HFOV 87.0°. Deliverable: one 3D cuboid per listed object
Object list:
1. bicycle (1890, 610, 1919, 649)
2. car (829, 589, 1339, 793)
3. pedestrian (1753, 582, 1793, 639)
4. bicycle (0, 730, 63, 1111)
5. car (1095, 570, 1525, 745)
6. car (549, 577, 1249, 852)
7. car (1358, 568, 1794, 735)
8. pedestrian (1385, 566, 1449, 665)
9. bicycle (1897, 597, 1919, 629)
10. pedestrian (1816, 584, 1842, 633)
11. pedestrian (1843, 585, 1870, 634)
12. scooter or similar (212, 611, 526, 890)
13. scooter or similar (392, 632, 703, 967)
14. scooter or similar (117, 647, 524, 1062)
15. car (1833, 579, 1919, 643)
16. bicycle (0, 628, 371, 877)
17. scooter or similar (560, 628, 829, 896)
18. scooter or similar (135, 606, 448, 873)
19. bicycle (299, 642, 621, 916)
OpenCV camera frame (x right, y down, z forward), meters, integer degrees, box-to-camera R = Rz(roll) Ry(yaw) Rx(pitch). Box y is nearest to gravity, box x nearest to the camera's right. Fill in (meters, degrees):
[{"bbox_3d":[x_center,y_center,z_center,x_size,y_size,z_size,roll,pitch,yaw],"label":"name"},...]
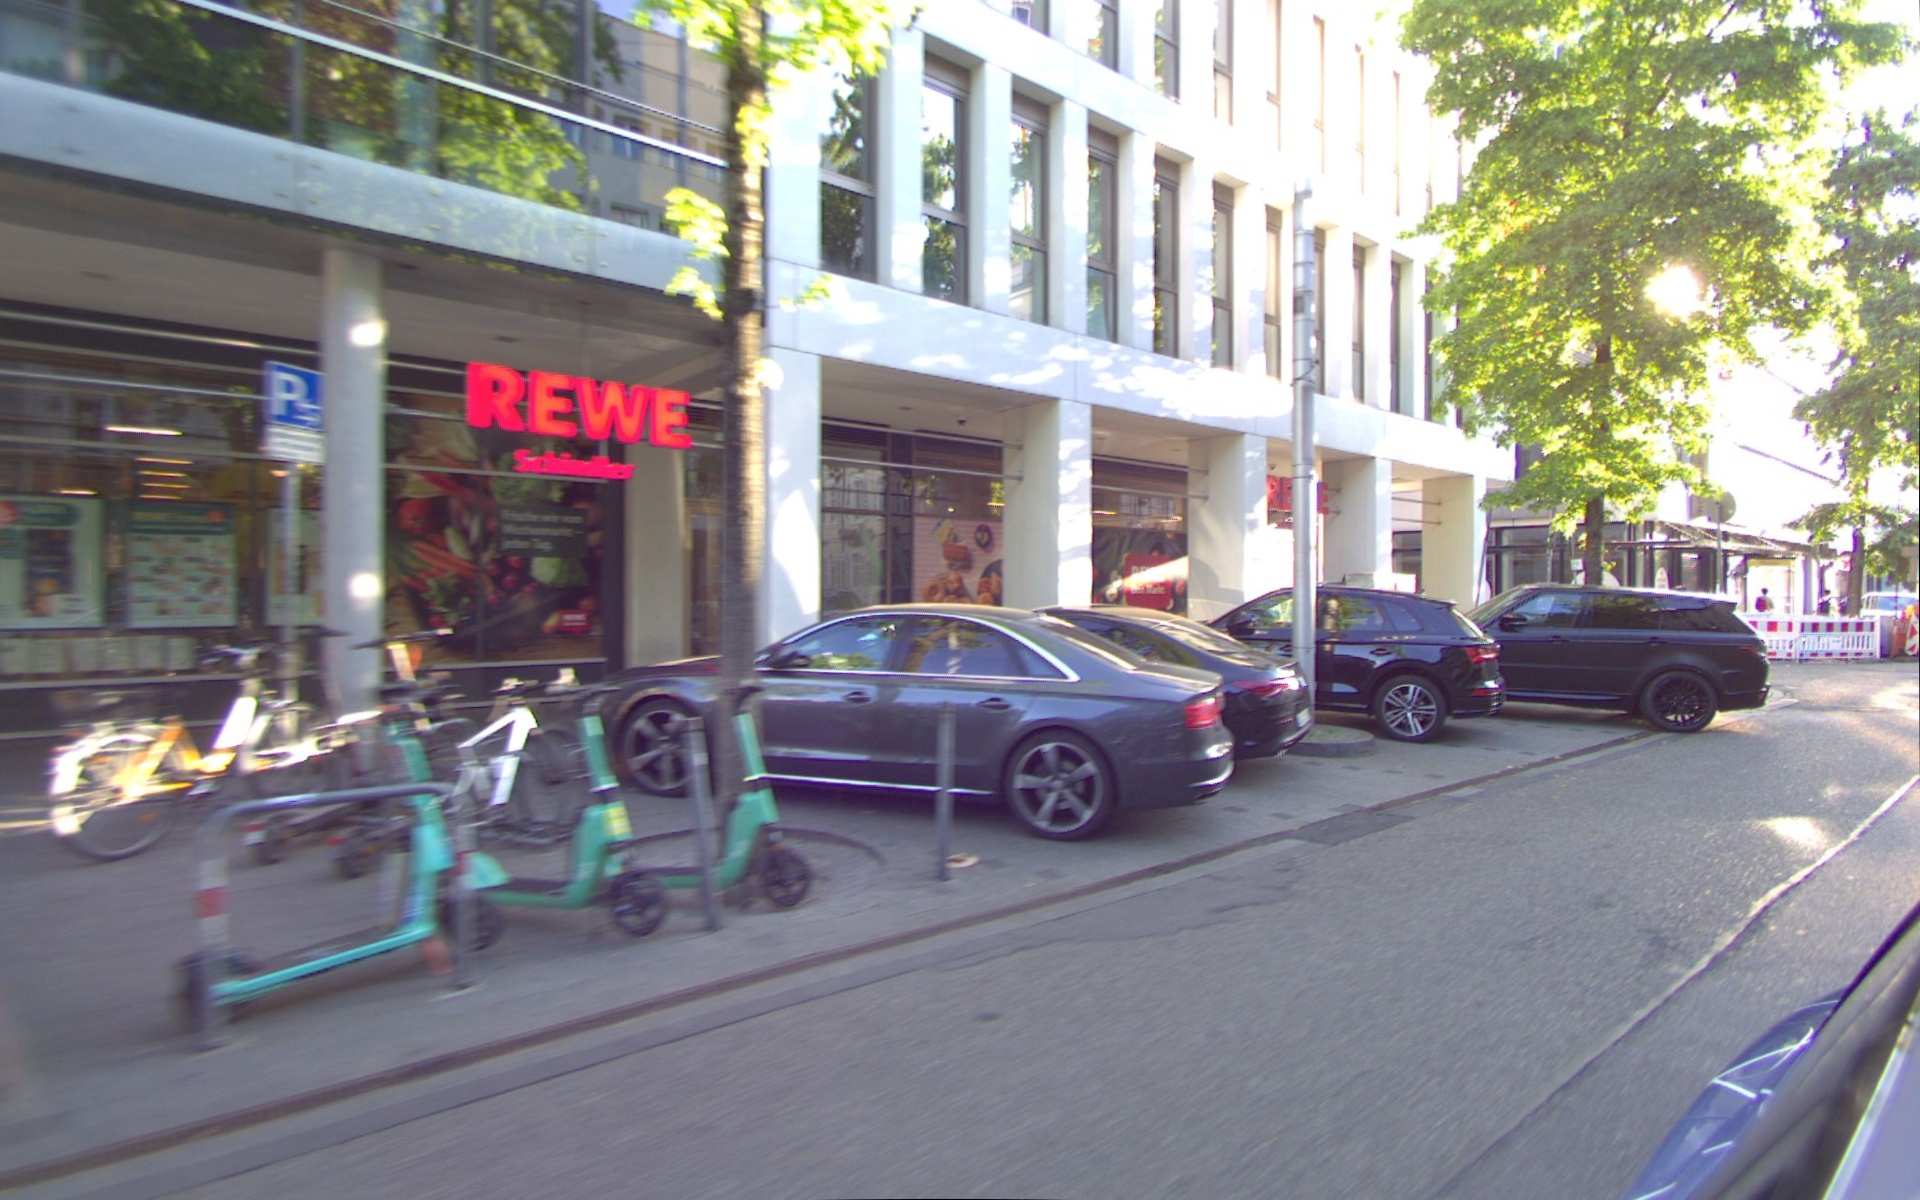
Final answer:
[{"bbox_3d":[25.839,0.790,27.629,1.897,0.994,0.493,0,0,-42],"label":"bicycle"},{"bbox_3d":[1.140,0.698,9.995,4.627,1.443,1.914,2,2,30],"label":"car"},{"bbox_3d":[27.624,0.345,34.394,0.901,1.921,0.836,0,1,-37],"label":"pedestrian"},{"bbox_3d":[-3.694,0.949,3.038,1.544,1.102,0.864,3,1,21],"label":"bicycle"},{"bbox_3d":[4.194,0.547,12.413,4.622,1.675,1.990,3,2,27],"label":"car"},{"bbox_3d":[-0.410,0.671,7.853,4.989,1.487,1.969,3,2,15],"label":"car"},{"bbox_3d":[7.848,0.544,13.531,4.612,1.785,1.981,3,2,22],"label":"car"},{"bbox_3d":[8.712,0.277,19.332,0.786,1.840,0.758,0,2,-7],"label":"pedestrian"},{"bbox_3d":[37.039,0.515,38.532,0.824,1.148,1.820,-1,3,-32],"label":"bicycle"},{"bbox_3d":[33.508,0.330,39.022,0.623,1.854,0.689,0,0,-40],"label":"pedestrian"},{"bbox_3d":[34.172,0.340,38.577,0.623,1.854,0.706,0,0,-40],"label":"pedestrian"},{"bbox_3d":[-3.377,0.767,5.975,0.622,1.309,1.674,2,2,13],"label":"scooter or similar"},{"bbox_3d":[-1.929,0.861,4.741,1.290,1.291,0.561,3,3,19],"label":"scooter or similar"},{"bbox_3d":[-2.449,0.876,3.945,1.284,1.291,0.452,0,4,-41],"label":"scooter or similar"},{"bbox_3d":[28.809,0.280,31.346,4.822,1.758,2.027,0,3,-42],"label":"car"},{"bbox_3d":[-4.615,0.813,6.194,0.617,1.144,1.881,2,2,13],"label":"bicycle"},{"bbox_3d":[-1.376,0.834,5.352,1.281,1.291,0.459,2,3,-2],"label":"scooter or similar"},{"bbox_3d":[-3.961,0.736,6.169,0.554,1.309,1.674,2,2,13],"label":"scooter or similar"},{"bbox_3d":[-2.673,0.874,5.669,0.544,1.121,1.842,2,2,14],"label":"bicycle"}]
